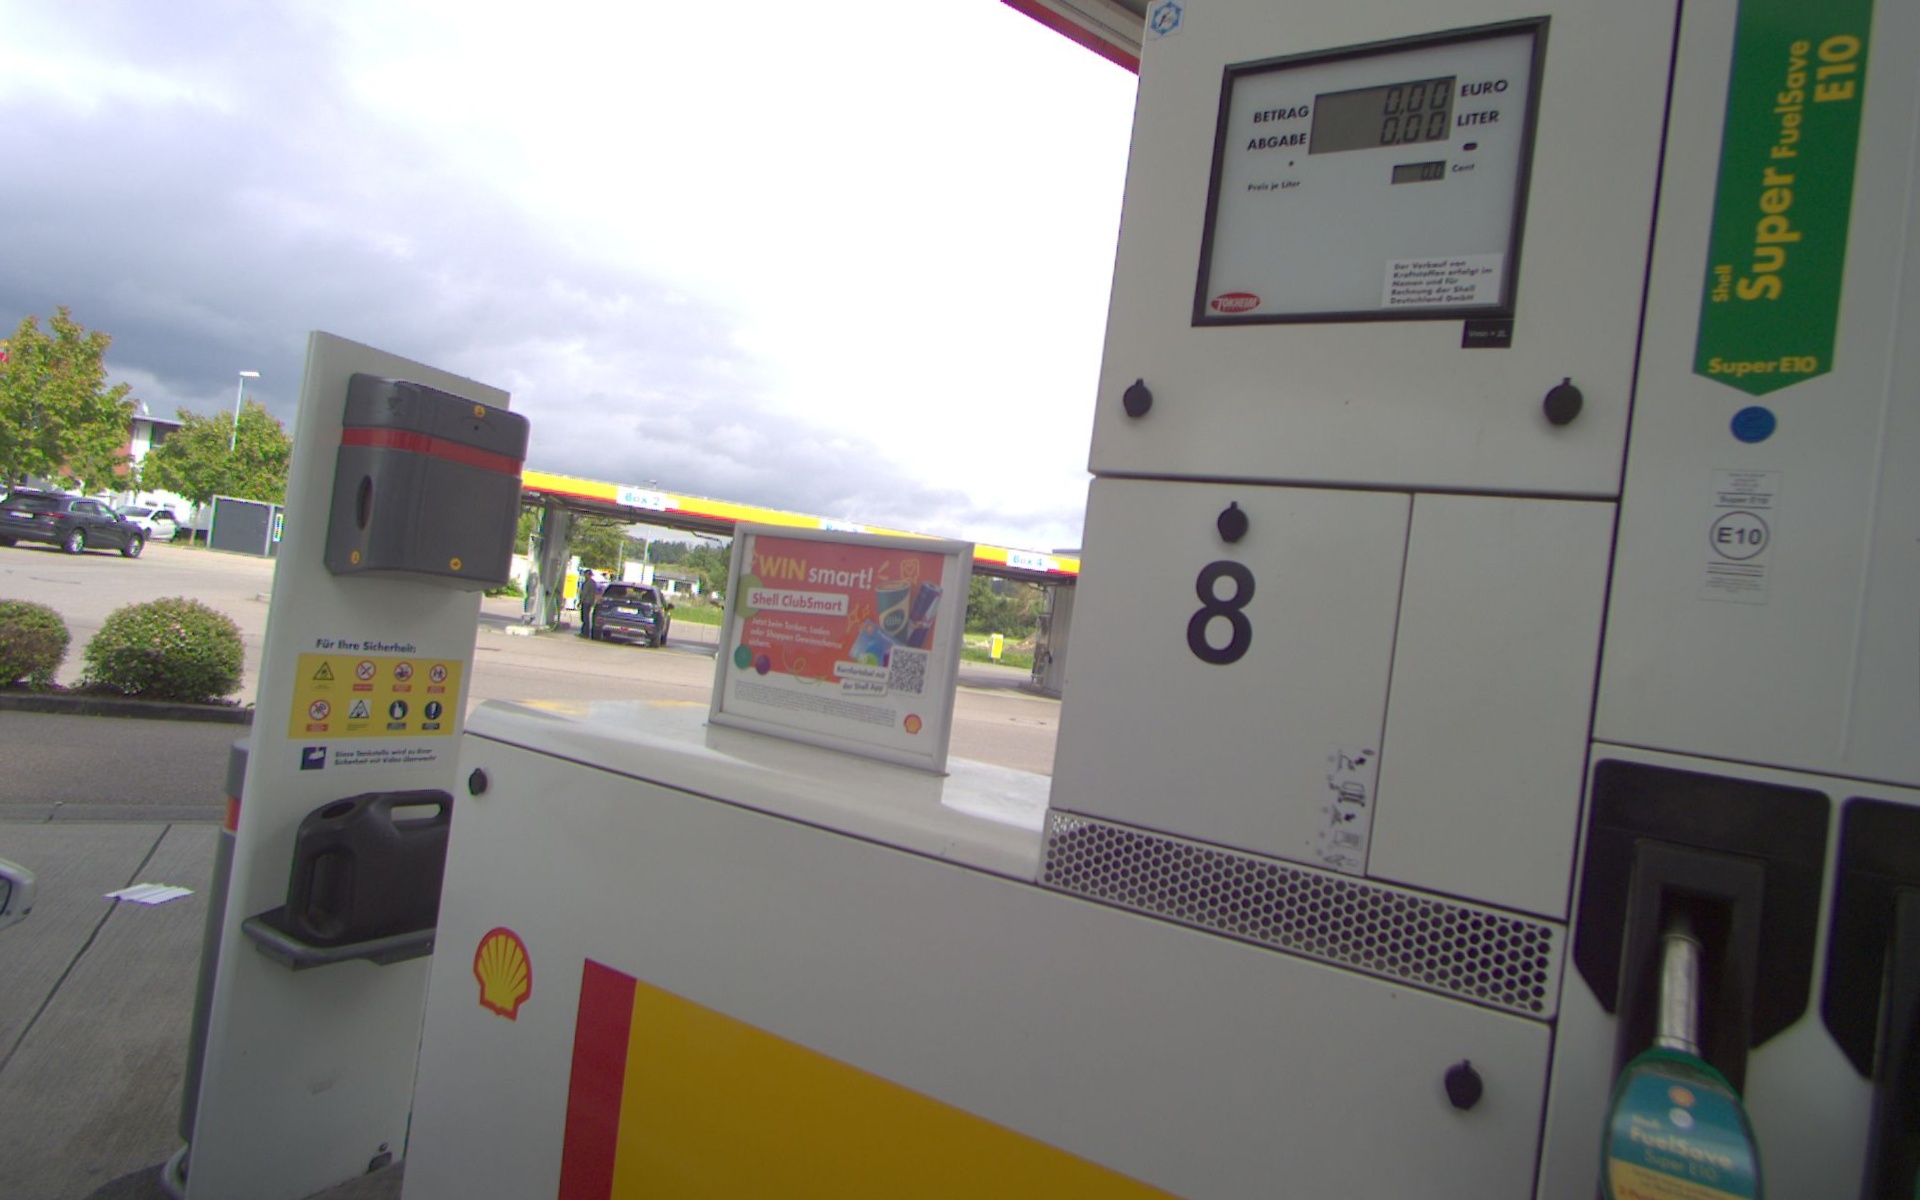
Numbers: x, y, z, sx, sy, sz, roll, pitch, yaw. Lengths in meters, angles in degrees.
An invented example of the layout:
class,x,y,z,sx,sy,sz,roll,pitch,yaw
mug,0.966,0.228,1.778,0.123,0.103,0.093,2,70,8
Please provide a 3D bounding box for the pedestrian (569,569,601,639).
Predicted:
class,x,y,z,sx,sy,sz,roll,pitch,yaw
pedestrian,-9.747,0.094,26.144,0.550,1.742,0.526,7,-1,-21

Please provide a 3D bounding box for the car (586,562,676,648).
class,x,y,z,sx,sy,sz,roll,pitch,yaw
car,-8.684,0.150,26.851,1.696,1.919,3.800,8,-2,-12

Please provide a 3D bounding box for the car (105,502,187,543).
class,x,y,z,sx,sy,sz,roll,pitch,yaw
car,-35.248,-3.342,43.630,1.346,1.322,3.098,8,-2,-12

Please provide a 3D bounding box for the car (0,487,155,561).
class,x,y,z,sx,sy,sz,roll,pitch,yaw
car,-25.916,-2.170,29.246,1.855,1.566,4.498,8,-2,-10

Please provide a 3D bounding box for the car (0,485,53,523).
class,x,y,z,sx,sy,sz,roll,pitch,yaw
car,-57.352,-5.907,60.222,2.149,1.854,4.870,8,-2,-11

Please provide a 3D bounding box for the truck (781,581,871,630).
class,x,y,z,sx,sy,sz,roll,pitch,yaw
truck,-13.014,0.559,97.494,7.978,3.575,2.687,8,-2,-19
